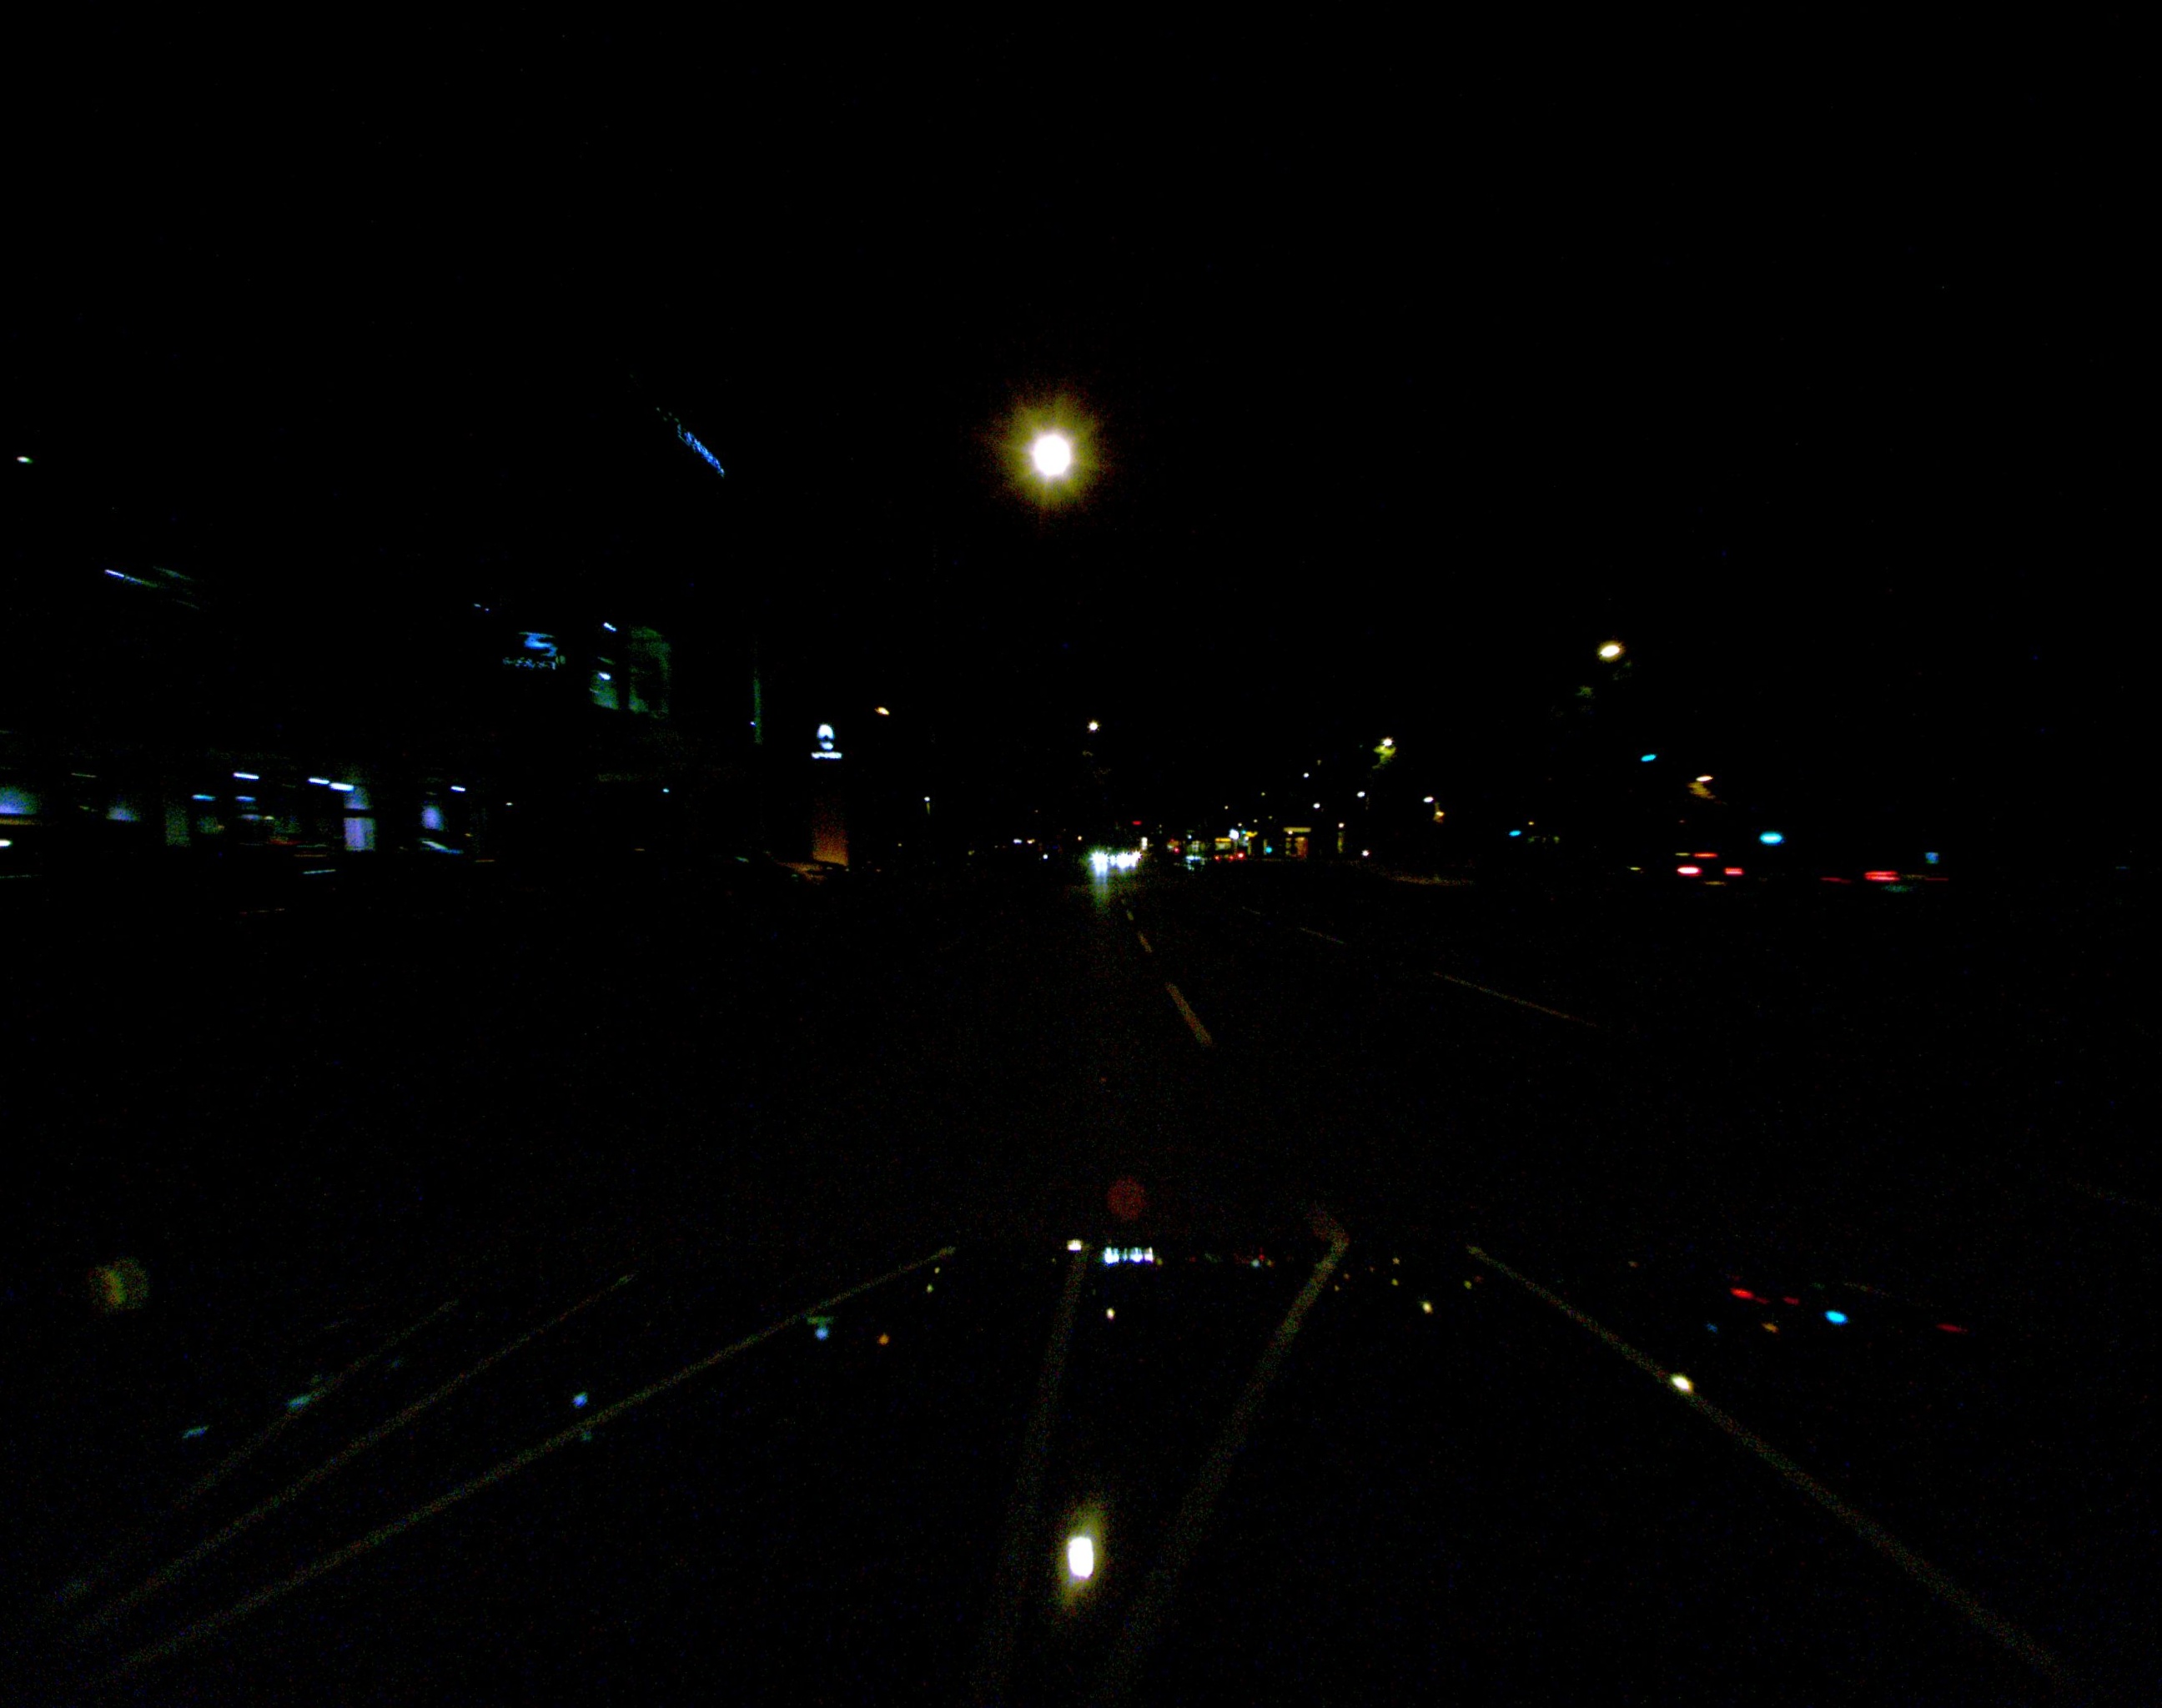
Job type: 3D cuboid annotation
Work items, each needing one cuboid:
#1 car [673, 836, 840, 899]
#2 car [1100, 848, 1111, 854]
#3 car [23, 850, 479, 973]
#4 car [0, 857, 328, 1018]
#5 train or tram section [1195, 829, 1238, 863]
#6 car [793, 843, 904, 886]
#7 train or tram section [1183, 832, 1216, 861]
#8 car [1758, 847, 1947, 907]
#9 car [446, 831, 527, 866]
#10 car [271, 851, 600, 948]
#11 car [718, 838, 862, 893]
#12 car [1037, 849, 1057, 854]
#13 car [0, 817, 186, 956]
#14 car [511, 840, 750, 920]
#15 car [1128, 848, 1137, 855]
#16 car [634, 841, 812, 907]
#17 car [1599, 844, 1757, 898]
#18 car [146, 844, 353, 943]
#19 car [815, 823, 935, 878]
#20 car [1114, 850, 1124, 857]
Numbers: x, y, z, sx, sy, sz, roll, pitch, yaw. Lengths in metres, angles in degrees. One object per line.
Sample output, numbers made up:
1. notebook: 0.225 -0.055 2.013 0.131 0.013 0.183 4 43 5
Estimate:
1. car: -10.229 0.419 24.271 4.475 1.677 1.998 3 0 -9
2. car: 5.456 -0.682 167.862 1.947 1.299 3.907 1 1 8
3. car: -10.724 0.732 10.154 3.781 1.371 1.714 3 0 -12
4. car: -10.628 0.762 7.560 4.038 1.365 1.823 3 0 -15
5. train or tram section: 16.501 -0.977 94.078 2.765 3.805 18.672 -1 0 3
6. car: -9.721 0.441 32.125 4.216 1.653 1.959 2 0 -9
7. train or tram section: 17.439 -1.142 113.037 2.744 3.824 19.365 -1 0 3
8. car: 22.142 0.596 22.049 1.664 1.508 3.911 -1 1 3
9. car: -31.055 -0.321 39.849 2.002 1.652 4.659 -2 2 -21
10. car: -10.562 0.737 12.749 3.816 1.444 1.715 2 0 -12
11. car: -10.276 0.425 27.167 4.475 1.799 1.998 1 0 -9
12. car: -7.007 -0.528 155.826 4.008 1.028 1.480 0 0 -39
13. car: -16.569 0.462 12.062 1.838 1.907 4.815 -2 1 -35
14. car: -10.518 0.592 18.034 4.475 1.539 1.768 3 1 -8
15. car: 11.446 -0.558 168.860 1.907 1.609 3.719 -1 1 3
16. car: -9.910 0.555 21.327 4.094 1.559 1.853 3 0 -9
17. car: 19.291 0.485 24.814 1.789 1.489 4.172 -1 2 -2
18. car: -14.980 0.600 13.962 1.997 1.521 3.988 0 0 -39
19. car: -11.320 -0.169 41.981 6.041 2.514 2.280 4 0 -15
20. car: 8.413 -0.125 168.009 1.858 1.482 3.561 -1 0 8
